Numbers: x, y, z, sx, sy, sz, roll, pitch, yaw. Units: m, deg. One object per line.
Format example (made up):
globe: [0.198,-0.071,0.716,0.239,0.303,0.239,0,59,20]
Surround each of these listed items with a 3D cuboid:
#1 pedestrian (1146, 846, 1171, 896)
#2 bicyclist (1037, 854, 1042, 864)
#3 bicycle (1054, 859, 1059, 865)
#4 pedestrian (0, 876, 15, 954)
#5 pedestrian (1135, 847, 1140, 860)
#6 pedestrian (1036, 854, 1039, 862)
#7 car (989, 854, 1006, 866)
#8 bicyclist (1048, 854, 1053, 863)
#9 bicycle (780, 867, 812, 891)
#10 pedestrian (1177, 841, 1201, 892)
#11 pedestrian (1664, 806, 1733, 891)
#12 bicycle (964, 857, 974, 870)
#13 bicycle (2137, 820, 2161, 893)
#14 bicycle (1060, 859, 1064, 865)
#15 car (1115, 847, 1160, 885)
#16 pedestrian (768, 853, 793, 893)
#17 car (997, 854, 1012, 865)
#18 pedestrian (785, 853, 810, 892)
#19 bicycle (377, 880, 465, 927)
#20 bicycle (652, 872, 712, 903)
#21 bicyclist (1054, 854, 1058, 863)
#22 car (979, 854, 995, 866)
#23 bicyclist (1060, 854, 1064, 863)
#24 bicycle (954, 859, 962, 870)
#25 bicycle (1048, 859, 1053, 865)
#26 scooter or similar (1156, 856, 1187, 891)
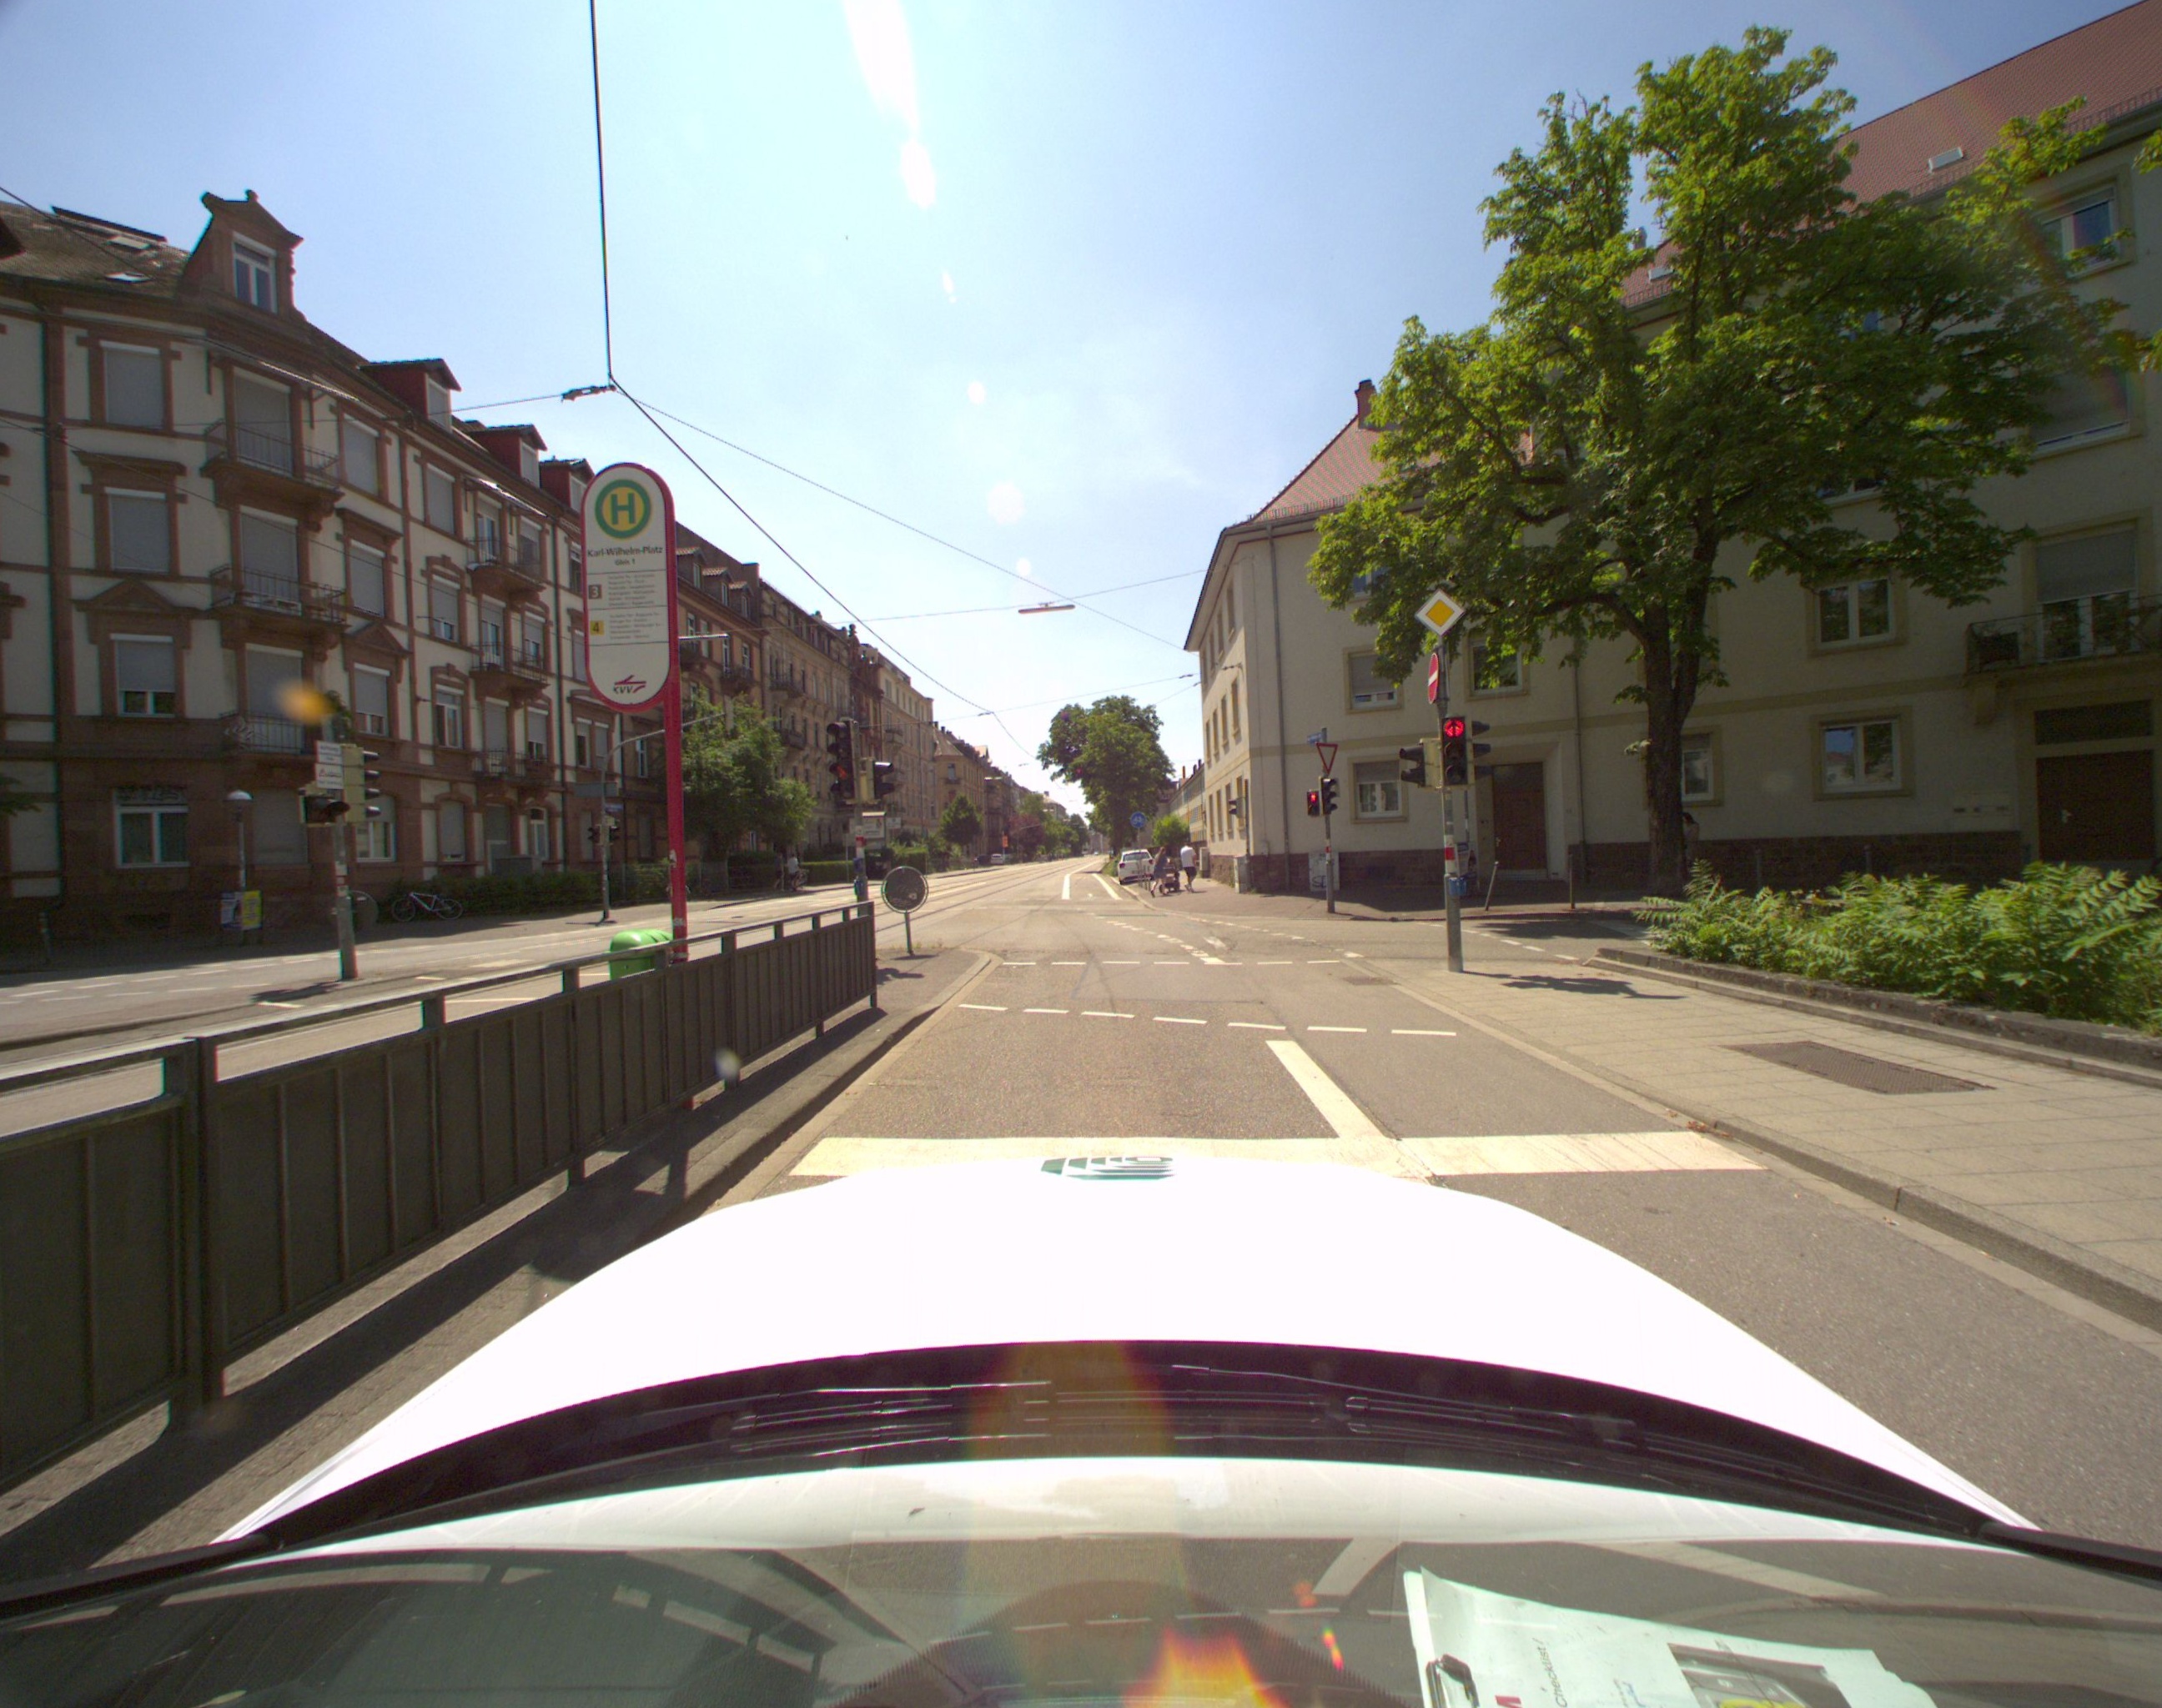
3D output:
pedestrian: [2.570,0.567,27.004,0.551,1.645,0.681,-1,-1,33]
bicyclist: [-6.650,0.750,129.893,0.724,1.629,1.080,0,-1,3]
bicycle: [-5.113,1.651,169.177,0.724,1.123,2.087,0,-1,4]
pedestrian: [-24.103,1.358,17.600,1.066,1.689,0.715,-2,0,-35]
pedestrian: [7.183,-0.043,102.866,0.519,1.562,0.573,-2,0,1]
pedestrian: [-7.913,0.682,149.223,0.404,1.461,0.436,-2,0,1]
car: [-11.878,0.812,116.066,1.912,1.715,4.001,0,-1,2]
bicyclist: [-5.585,0.804,148.213,0.724,1.768,1.080,0,-1,3]
bicycle: [-14.396,1.254,41.257,0.936,1.136,2.767,0,-1,-7]
pedestrian: [3.567,0.416,26.916,0.551,1.645,0.681,-1,-1,33]
pedestrian: [13.189,-0.109,17.430,1.043,1.690,0.658,-5,3,36]
bicycle: [-11.709,0.958,85.137,0.675,1.278,1.918,-2,0,-1]
bicycle: [17.008,0.022,12.084,0.527,1.104,1.589,-2,0,-34]
bicycle: [-3.899,1.616,169.170,0.724,1.123,2.087,0,-1,4]
car: [2.524,0.532,37.413,1.808,1.516,4.001,-4,-1,2]
pedestrian: [-14.135,0.884,38.372,0.813,1.822,0.874,0,1,2]
car: [-11.658,0.878,124.330,1.912,1.715,4.001,0,-1,2]
pedestrian: [-13.376,0.873,38.417,0.813,1.822,0.874,0,1,2]
bicycle: [-19.556,1.437,24.161,0.557,1.294,1.975,-1,-1,43]
bicycle: [-15.671,1.300,32.083,0.934,1.136,2.774,0,-1,1]
bicyclist: [-5.100,0.943,169.218,0.724,1.818,1.080,0,-1,3]
car: [-14.330,0.898,124.468,1.912,1.715,4.001,0,-1,2]
bicyclist: [-3.908,0.961,169.174,0.724,1.818,1.080,0,-1,3]
bicycle: [-12.153,1.031,80.500,0.677,1.064,1.912,-2,0,-9]
bicycle: [-5.561,1.494,148.297,0.724,1.123,2.087,0,-1,4]
scooter or similar: [3.100,0.664,27.797,0.551,1.155,1.213,-1,-1,33]
